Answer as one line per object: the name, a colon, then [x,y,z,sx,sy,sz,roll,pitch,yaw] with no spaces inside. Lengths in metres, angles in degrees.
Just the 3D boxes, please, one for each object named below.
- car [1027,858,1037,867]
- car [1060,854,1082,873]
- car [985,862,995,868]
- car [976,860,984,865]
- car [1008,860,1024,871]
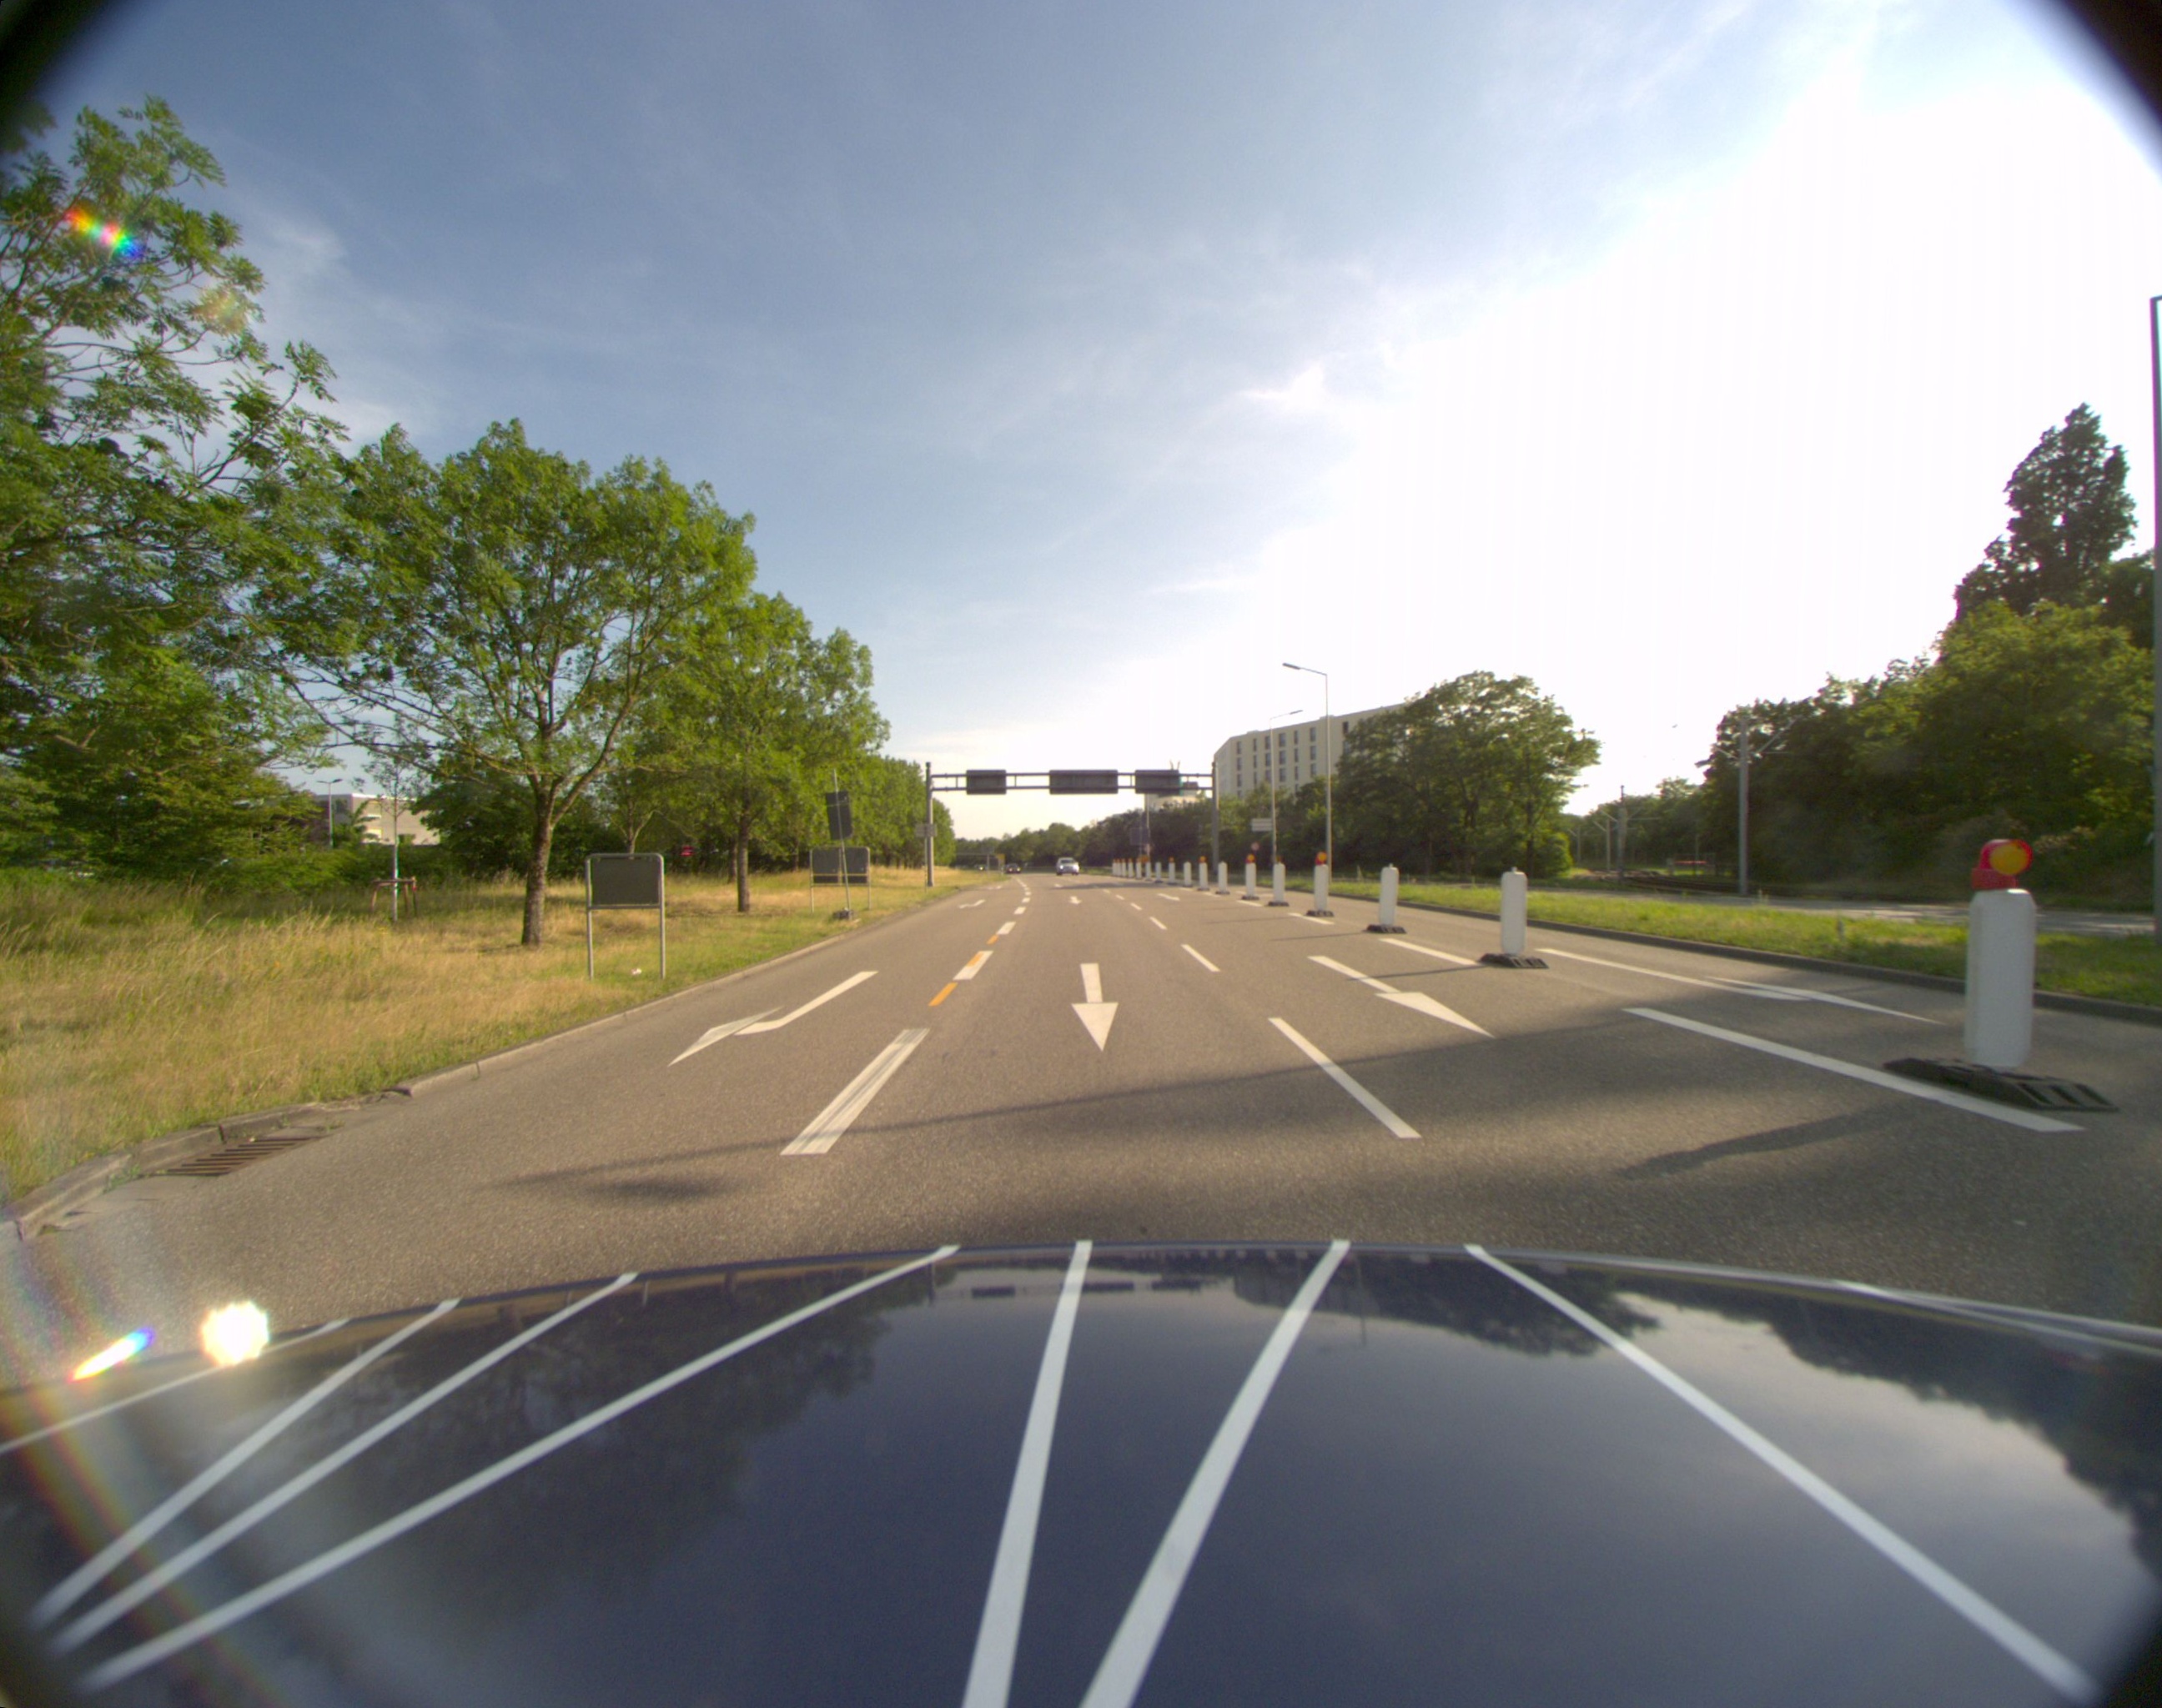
car: [-11.016,1.873,170.478,1.791,1.796,4.120,-1,0,-10]
car: [-1.083,0.958,78.287,1.902,1.813,4.354,-3,0,-5]
car: [-21.787,2.639,181.467,1.897,1.447,3.904,-1,0,-15]
car: [-31.760,2.614,237.970,1.738,1.602,3.518,-3,0,-20]
car: [-9.257,1.627,108.312,1.902,1.377,4.352,-3,0,-9]
